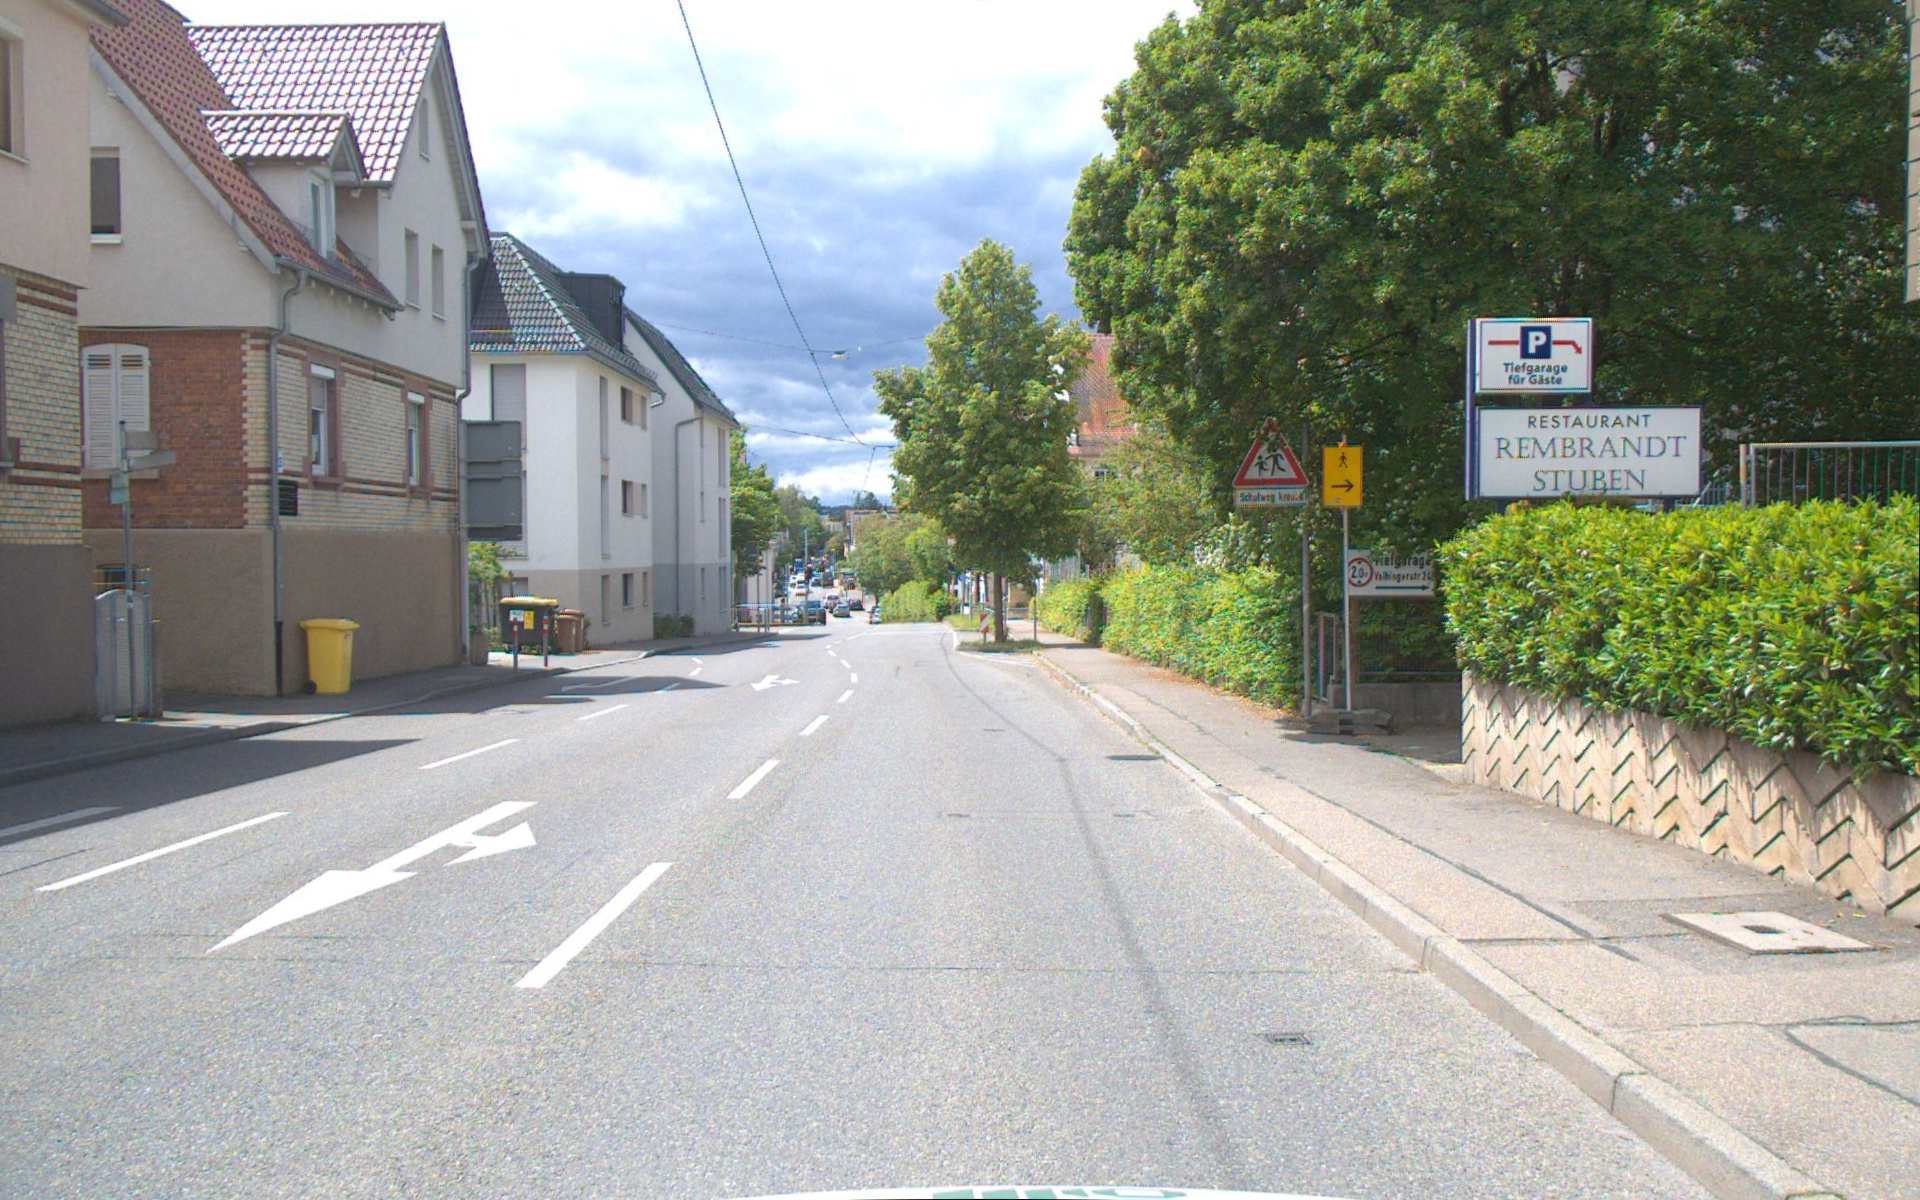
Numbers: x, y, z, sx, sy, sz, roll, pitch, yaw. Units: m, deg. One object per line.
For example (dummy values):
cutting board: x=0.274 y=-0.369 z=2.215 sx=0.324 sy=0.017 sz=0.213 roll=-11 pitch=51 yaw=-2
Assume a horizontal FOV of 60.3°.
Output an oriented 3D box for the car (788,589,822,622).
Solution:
car: x=-10.026 y=0.348 z=106.805 sx=1.957 sy=2.049 sz=3.991 roll=0 pitch=0 yaw=-10

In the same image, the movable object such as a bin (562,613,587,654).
movable object such as a bin: x=-9.814 y=0.852 z=42.105 sx=0.521 sy=1.048 sz=0.455 roll=0 pitch=0 yaw=-2

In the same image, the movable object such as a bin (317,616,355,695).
movable object such as a bin: x=-9.178 y=0.813 z=24.324 sx=0.422 sy=1.147 sz=0.299 roll=-1 pitch=0 yaw=-2

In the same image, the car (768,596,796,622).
car: x=-14.235 y=0.687 z=131.952 sx=1.957 sy=2.049 sz=3.991 roll=0 pitch=0 yaw=-10

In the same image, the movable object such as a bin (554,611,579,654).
movable object such as a bin: x=-9.844 y=0.812 z=41.394 sx=0.521 sy=1.048 sz=0.455 roll=0 pitch=0 yaw=-2

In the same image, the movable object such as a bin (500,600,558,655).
movable object such as a bin: x=-10.497 y=0.663 z=40.323 sx=1.256 sy=1.333 sz=0.815 roll=0 pitch=0 yaw=-6

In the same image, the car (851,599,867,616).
car: x=-12.863 y=1.003 z=209.878 sx=1.954 sy=2.049 sz=3.996 roll=-1 pitch=-1 yaw=-5

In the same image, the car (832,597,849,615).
car: x=-14.056 y=0.707 z=194.161 sx=1.954 sy=2.049 sz=3.996 roll=-1 pitch=-1 yaw=-5
